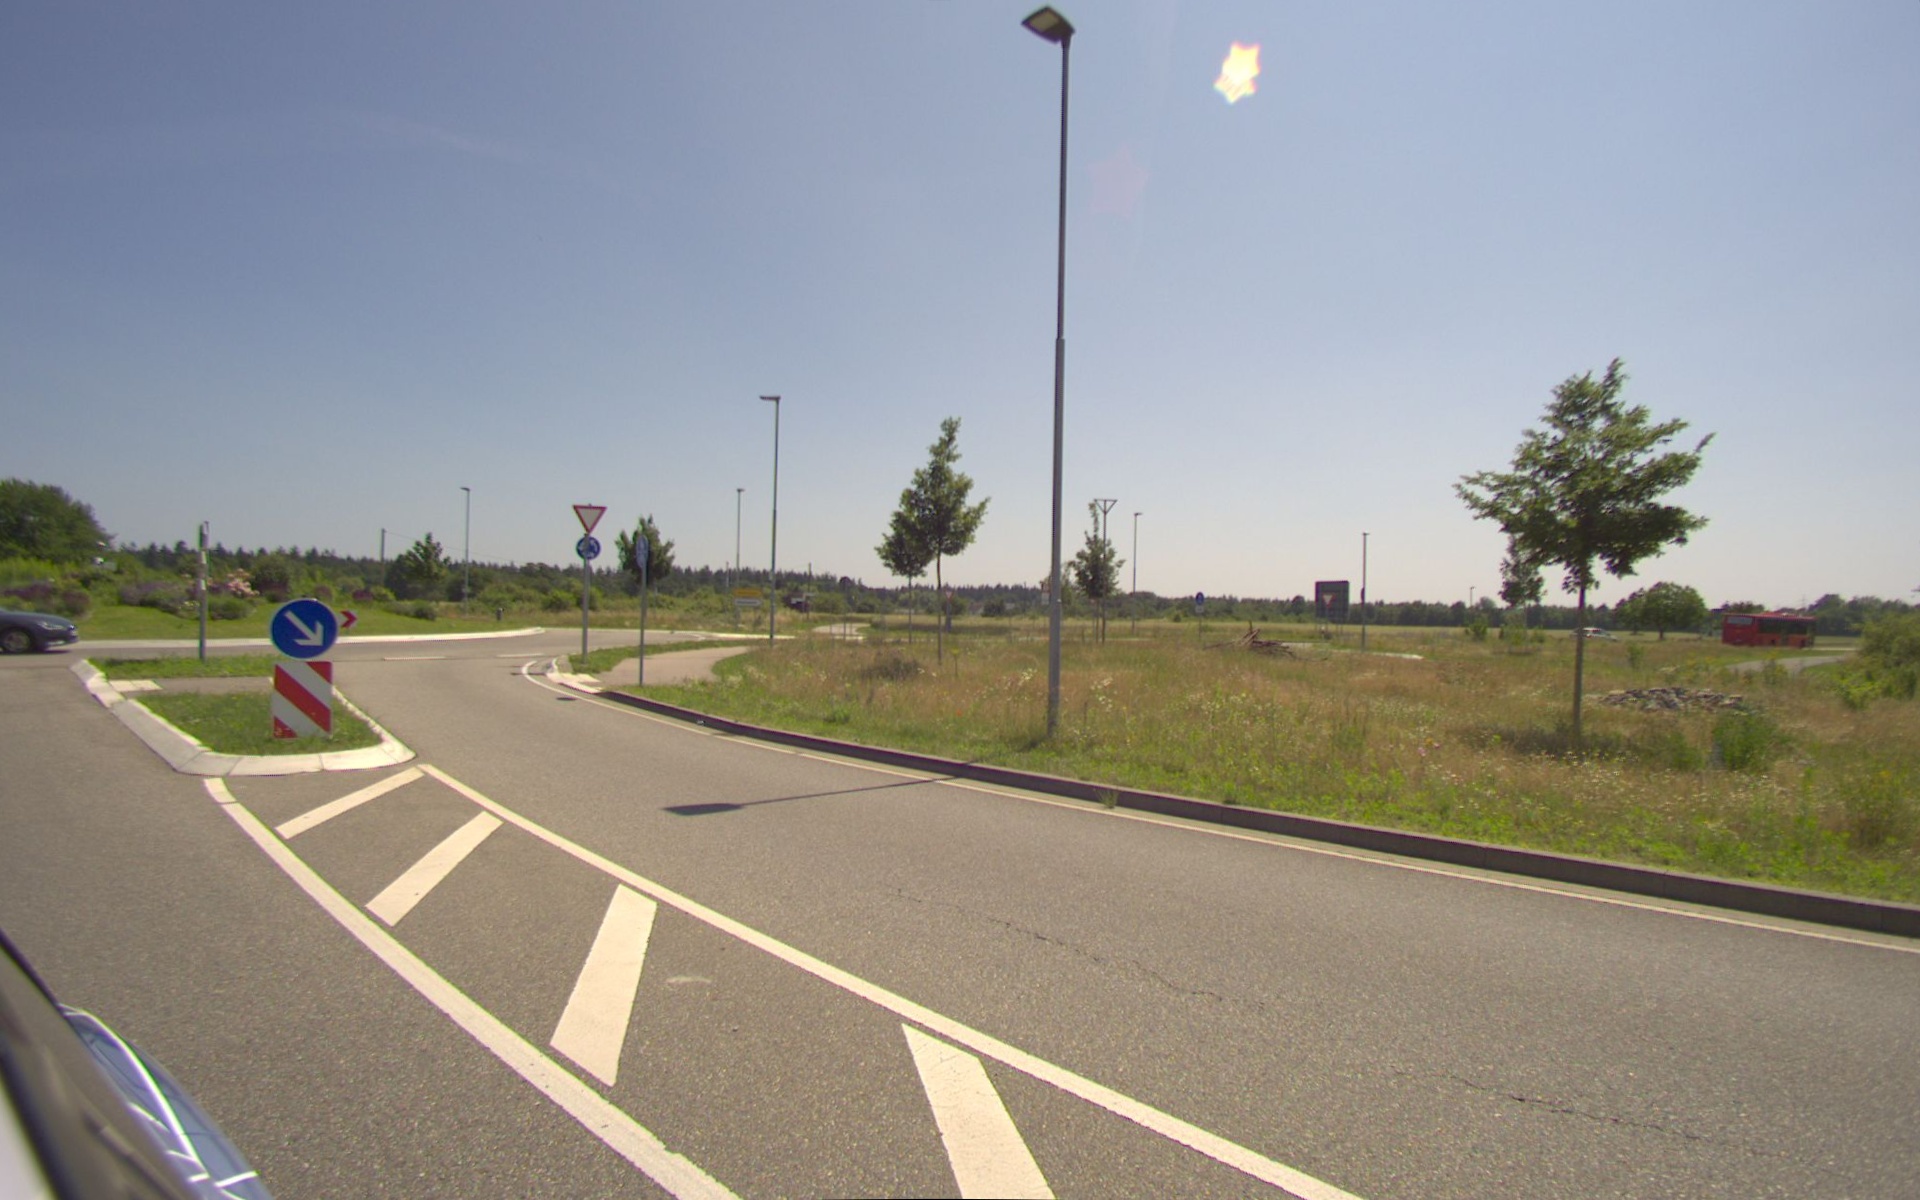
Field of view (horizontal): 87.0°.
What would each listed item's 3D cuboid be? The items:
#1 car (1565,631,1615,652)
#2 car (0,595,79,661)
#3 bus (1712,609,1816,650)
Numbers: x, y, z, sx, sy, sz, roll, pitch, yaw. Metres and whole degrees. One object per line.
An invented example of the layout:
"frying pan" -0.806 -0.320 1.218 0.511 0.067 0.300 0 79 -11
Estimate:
"car" 46.602 3.097 74.851 3.541 1.475 1.734 2 -2 -32
"car" -23.632 0.600 23.488 4.442 1.445 1.876 2 1 -26
"bus" 70.555 2.644 88.675 11.786 3.334 3.323 2 -2 -32
